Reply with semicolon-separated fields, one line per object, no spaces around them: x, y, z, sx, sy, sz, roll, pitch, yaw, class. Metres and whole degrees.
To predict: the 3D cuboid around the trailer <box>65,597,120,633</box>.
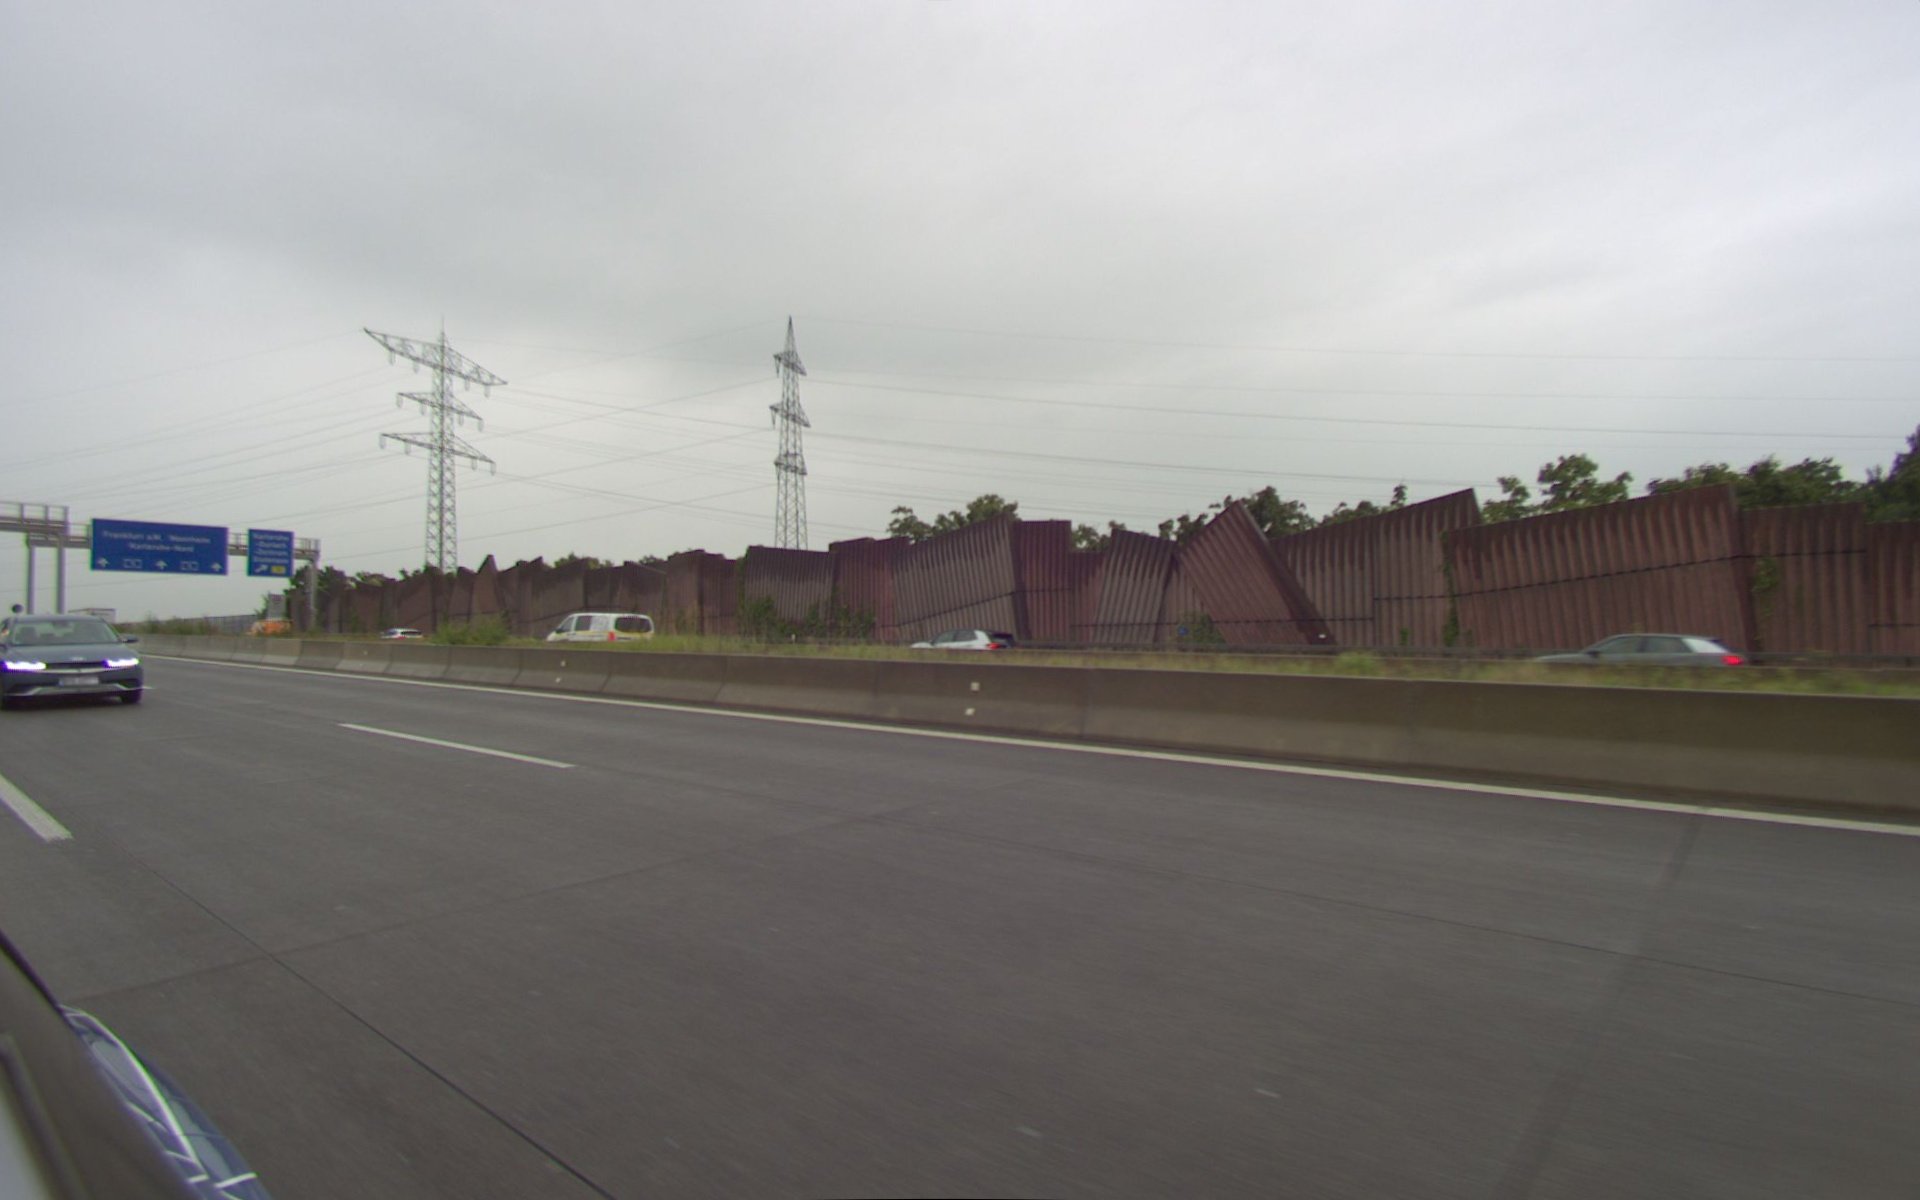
-104.986;1.874;122.342;13.562;4.218;3.025;-2;-1;41;trailer

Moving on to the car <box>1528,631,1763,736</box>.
14.887;1.715;22.074;3.999;2.029;1.972;-2;-1;42;car

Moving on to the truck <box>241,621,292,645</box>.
-51.283;2.410;74.801;5.014;1.753;1.972;-1;-1;42;truck

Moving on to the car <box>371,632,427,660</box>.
-37.727;3.074;68.052;4.396;1.753;1.972;-1;-1;42;car

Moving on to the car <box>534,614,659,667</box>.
-13.287;1.434;36.790;5.206;1.798;1.973;-1;-1;40;car

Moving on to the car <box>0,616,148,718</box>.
-16.615;1.123;18.510;5.152;1.606;1.820;-1;-1;40;car

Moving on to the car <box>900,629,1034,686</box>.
0.196;1.895;34.506;4.287;1.798;1.973;-1;-1;40;car
